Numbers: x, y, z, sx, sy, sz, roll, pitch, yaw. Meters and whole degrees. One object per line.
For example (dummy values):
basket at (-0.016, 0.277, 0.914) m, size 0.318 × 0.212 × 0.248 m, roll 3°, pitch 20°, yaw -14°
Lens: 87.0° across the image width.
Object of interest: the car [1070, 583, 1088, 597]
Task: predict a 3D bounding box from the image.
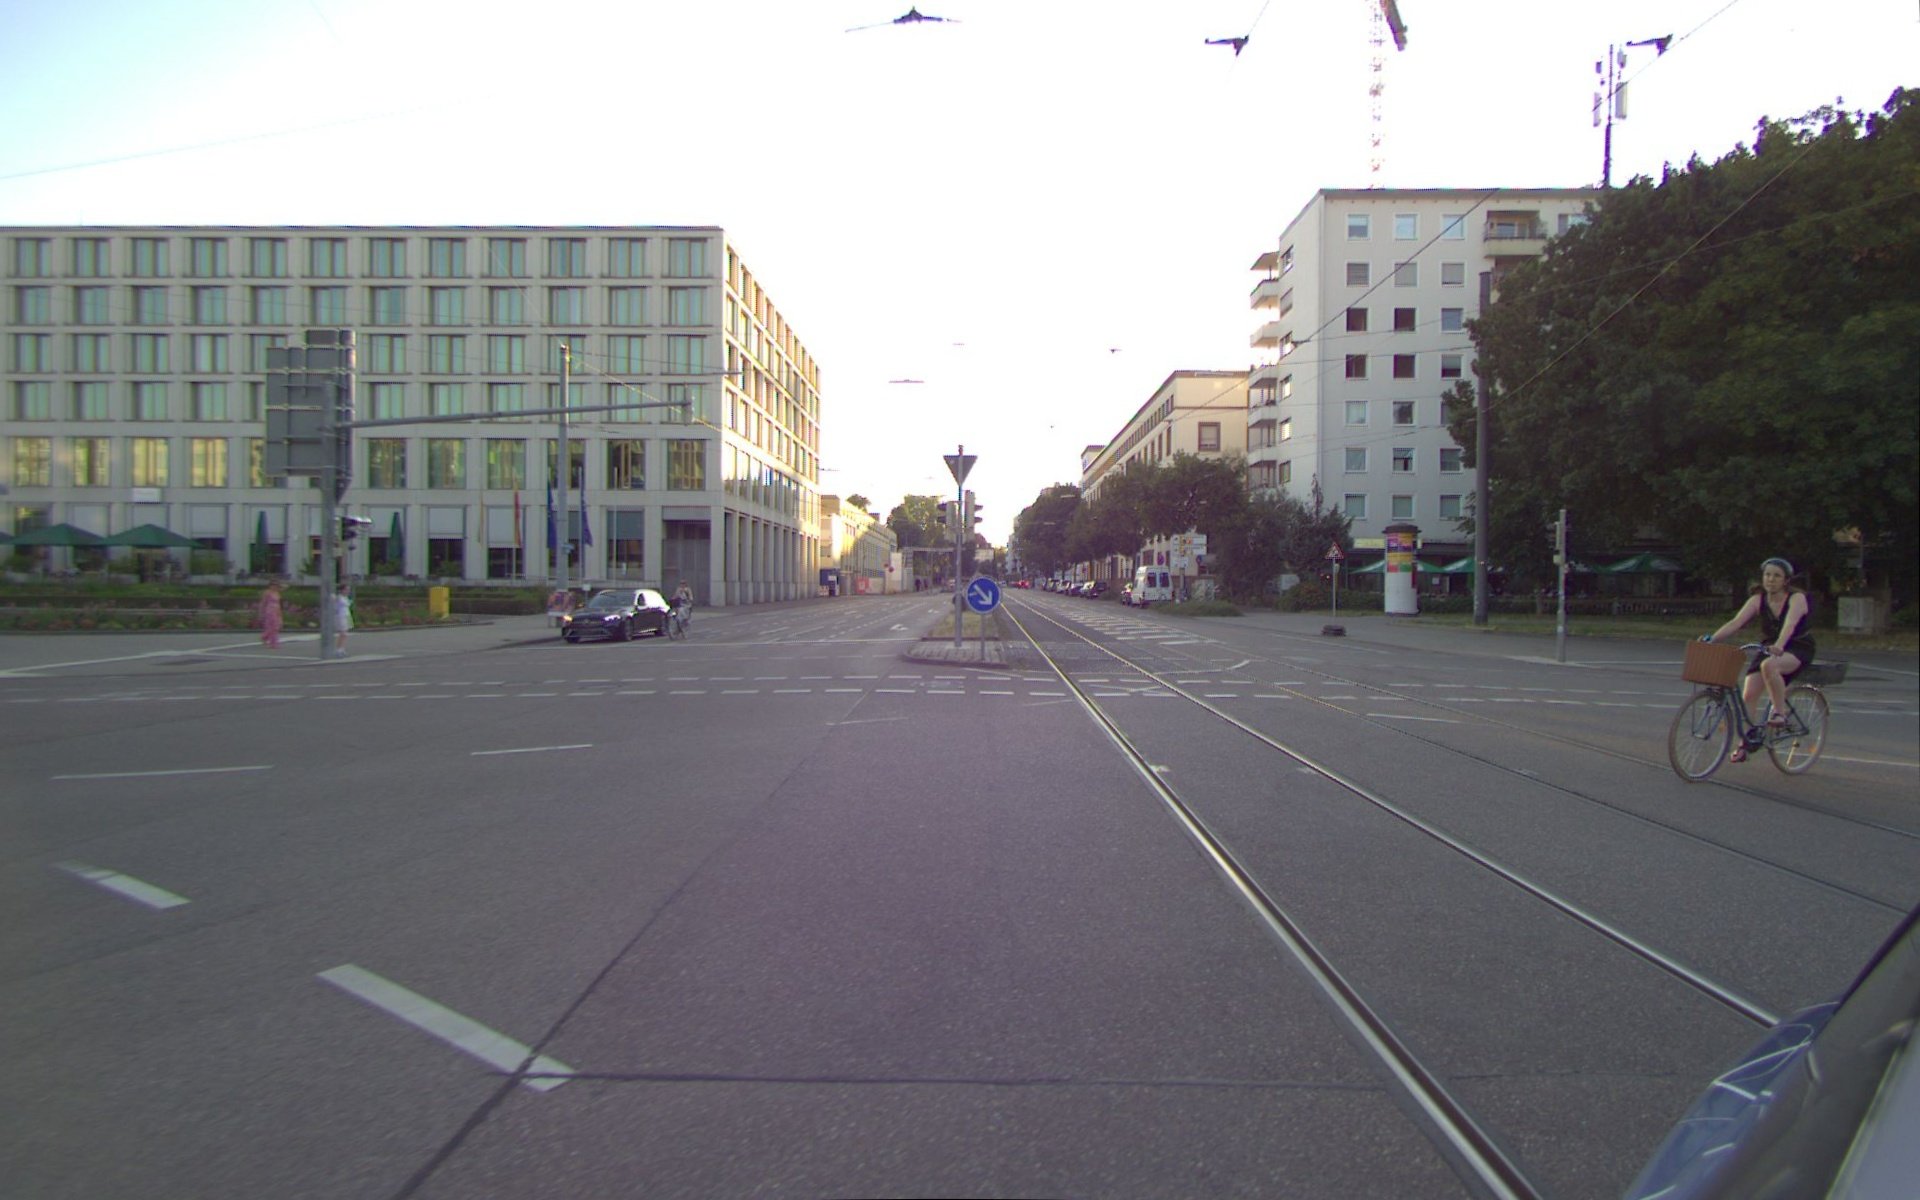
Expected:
car at (12.695, -1.056, 107.923) m, size 1.693 × 1.448 × 3.805 m, roll 0°, pitch 1°, yaw 4°

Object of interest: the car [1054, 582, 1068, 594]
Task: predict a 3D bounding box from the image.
car at (12.680, -1.485, 127.275) m, size 1.693 × 1.448 × 3.805 m, roll 0°, pitch 1°, yaw 4°

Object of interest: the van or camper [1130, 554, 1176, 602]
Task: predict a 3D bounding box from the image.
van or camper at (11.753, -1.276, 61.996) m, size 2.073 × 2.716 × 4.705 m, roll -1°, pitch -1°, yaw 3°

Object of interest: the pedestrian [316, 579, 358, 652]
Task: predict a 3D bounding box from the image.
pedestrian at (-14.210, 0.339, 23.084) m, size 0.619 × 1.646 × 0.534 m, roll 0°, pitch 0°, yaw 19°

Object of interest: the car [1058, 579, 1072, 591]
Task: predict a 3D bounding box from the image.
car at (13.133, -1.896, 126.862) m, size 1.693 × 1.505 × 3.805 m, roll 0°, pitch 1°, yaw 5°

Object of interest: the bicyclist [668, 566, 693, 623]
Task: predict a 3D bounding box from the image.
bicyclist at (-8.244, -0.168, 29.829) m, size 0.532 × 1.656 × 0.596 m, roll 0°, pitch 0°, yaw 8°

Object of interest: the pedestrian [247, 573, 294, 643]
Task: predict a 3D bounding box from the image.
pedestrian at (-16.660, 0.187, 24.462) m, size 0.733 × 1.646 × 0.717 m, roll 0°, pitch 1°, yaw 34°

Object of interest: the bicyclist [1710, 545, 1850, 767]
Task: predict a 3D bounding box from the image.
bicyclist at (6.398, 0.414, 7.920) m, size 0.584 × 1.656 × 0.611 m, roll 0°, pitch 0°, yaw -10°

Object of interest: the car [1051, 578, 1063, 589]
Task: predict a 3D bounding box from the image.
car at (13.595, -2.308, 141.501) m, size 1.693 × 1.505 × 3.805 m, roll 0°, pitch 1°, yaw 5°

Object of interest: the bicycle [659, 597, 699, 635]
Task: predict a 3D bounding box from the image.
bicycle at (-8.249, 0.444, 29.775) m, size 0.531 × 1.065 × 1.758 m, roll 0°, pitch 1°, yaw 7°

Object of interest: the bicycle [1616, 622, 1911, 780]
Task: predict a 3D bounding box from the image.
bicycle at (6.272, 0.754, 7.926) m, size 2.043 × 1.128 × 0.611 m, roll 0°, pitch 0°, yaw -10°

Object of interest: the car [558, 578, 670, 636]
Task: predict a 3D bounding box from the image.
car at (-10.309, 0.163, 30.523) m, size 1.782 × 1.541 × 4.812 m, roll -2°, pitch 1°, yaw -1°

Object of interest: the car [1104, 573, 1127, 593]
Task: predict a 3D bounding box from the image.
car at (13.277, -1.466, 86.666) m, size 1.693 × 1.726 × 3.805 m, roll 0°, pitch 1°, yaw 5°
